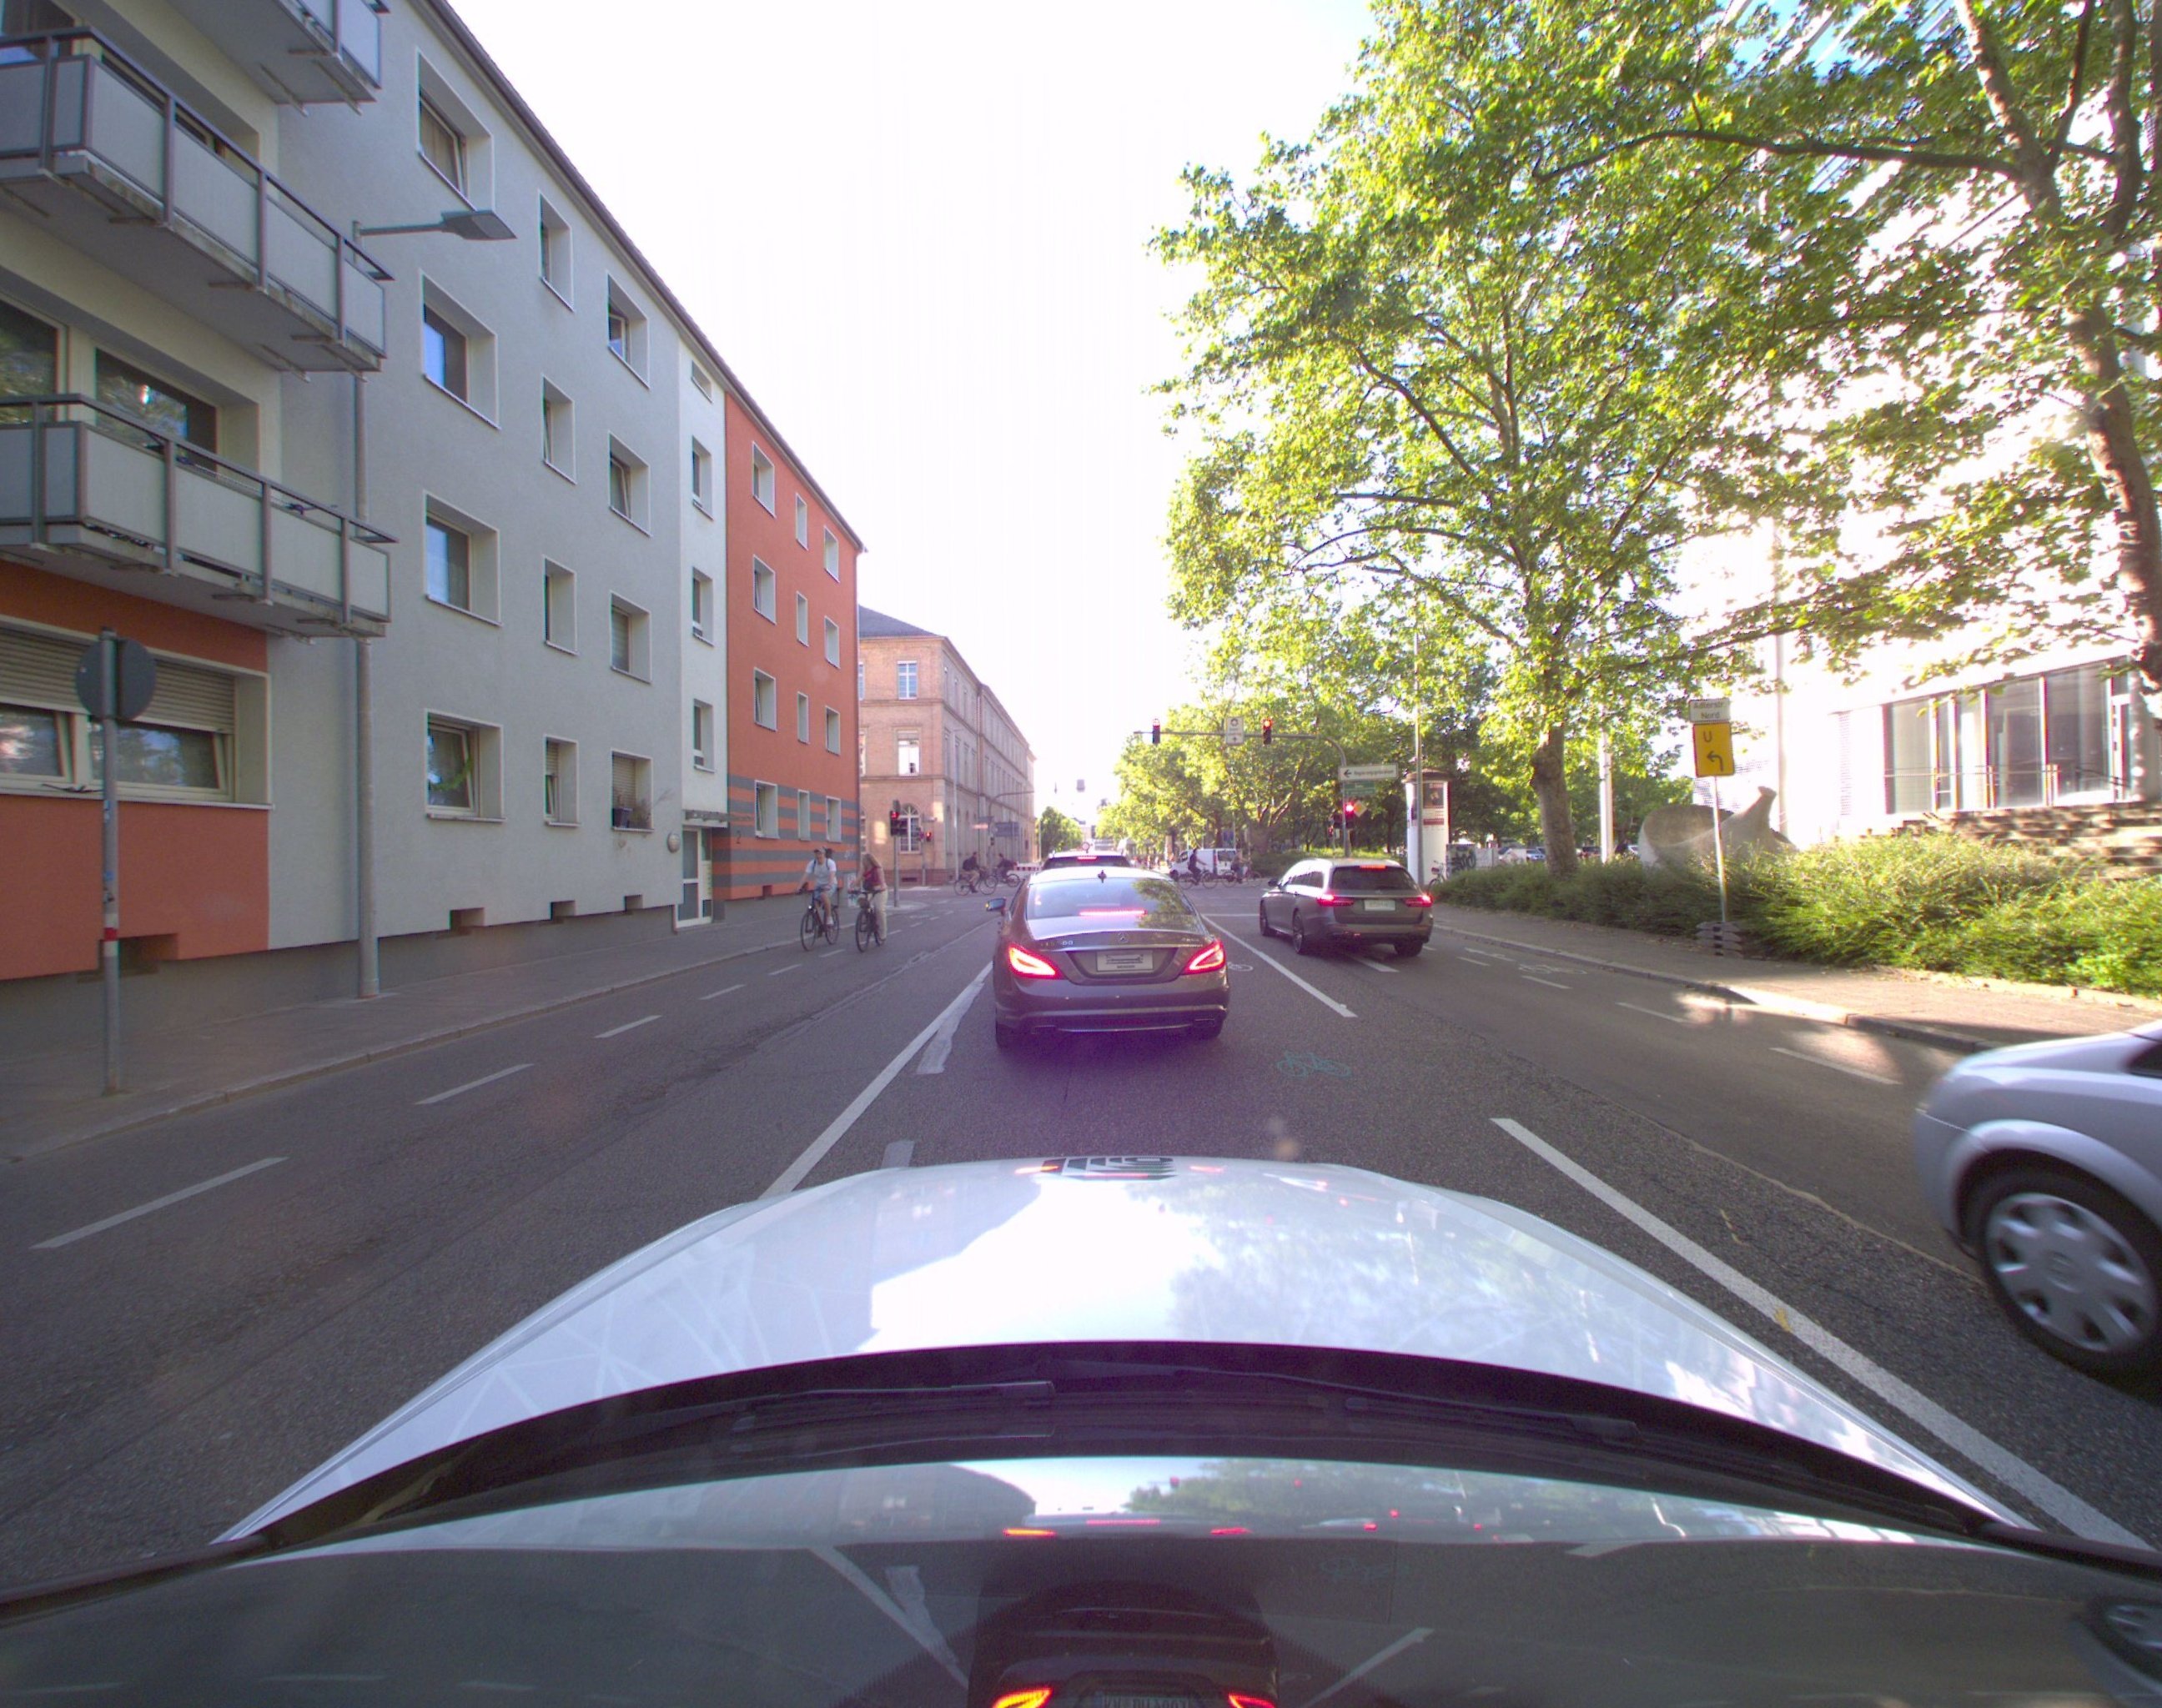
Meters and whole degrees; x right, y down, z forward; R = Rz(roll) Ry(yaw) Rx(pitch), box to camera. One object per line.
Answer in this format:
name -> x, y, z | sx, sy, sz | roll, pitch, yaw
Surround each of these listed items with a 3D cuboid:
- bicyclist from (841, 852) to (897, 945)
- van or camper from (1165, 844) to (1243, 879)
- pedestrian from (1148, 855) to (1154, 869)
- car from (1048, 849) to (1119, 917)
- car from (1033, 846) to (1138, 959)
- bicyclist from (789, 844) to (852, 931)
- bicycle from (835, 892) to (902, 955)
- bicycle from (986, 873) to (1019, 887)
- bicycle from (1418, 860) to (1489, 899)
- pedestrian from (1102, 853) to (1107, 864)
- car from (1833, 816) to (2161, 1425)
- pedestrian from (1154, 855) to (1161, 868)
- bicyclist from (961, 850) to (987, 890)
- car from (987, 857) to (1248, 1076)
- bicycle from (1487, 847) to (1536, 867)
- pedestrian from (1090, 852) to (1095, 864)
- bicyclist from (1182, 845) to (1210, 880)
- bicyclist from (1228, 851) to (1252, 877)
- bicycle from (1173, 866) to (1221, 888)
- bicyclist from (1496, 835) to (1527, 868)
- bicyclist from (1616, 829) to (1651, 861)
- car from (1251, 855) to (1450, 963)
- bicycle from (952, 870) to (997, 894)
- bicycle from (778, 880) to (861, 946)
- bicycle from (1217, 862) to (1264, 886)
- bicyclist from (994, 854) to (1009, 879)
bicyclist -> -3.754, 0.762, 14.467 | 0.682, 1.578, 0.982 | -1, 0, 2
van or camper -> 7.214, 0.416, 48.140 | 2.008, 1.941, 4.545 | 0, 0, -34
pedestrian -> 7.767, 0.864, 90.708 | 0.646, 1.503, 0.637 | -1, 0, 1
car -> 0.129, 0.768, 23.378 | 1.813, 1.762, 4.002 | -1, 0, 2
car -> 0.063, 0.710, 13.852 | 1.513, 1.647, 3.879 | -1, 0, 0
bicyclist -> -4.797, 0.606, 15.034 | 0.838, 1.555, 0.840 | -1, 0, 3
bicycle -> -3.727, 1.196, 14.423 | 0.691, 0.929, 1.863 | -1, 0, 0
bicycle -> -4.028, 1.324, 41.684 | 1.579, 0.635, 0.496 | -1, 0, 5
bicycle -> 10.705, 0.730, 23.435 | 1.796, 1.097, 0.510 | -1, 0, 4
pedestrian -> 3.456, 0.682, 119.481 | 0.799, 1.576, 0.845 | -1, 0, 1
car -> 3.619, 0.693, 1.160 | 1.694, 1.603, 3.863 | -1, 0, 4
pedestrian -> 8.518, 0.882, 90.523 | 0.646, 1.433, 0.659 | -1, 0, 1
bicyclist -> -4.442, 0.664, 33.809 | 1.013, 1.642, 0.607 | -1, 0, -4
car -> 0.072, 0.772, 7.776 | 1.801, 1.456, 4.342 | -1, 0, -5
bicycle -> 20.057, 0.145, 37.960 | 1.884, 0.882, 0.726 | -1, 0, 5
pedestrian -> 1.803, 0.659, 125.700 | 0.718, 1.902, 0.704 | -1, 0, 1
bicyclist -> 4.998, 0.354, 35.322 | 1.113, 1.490, 0.712 | -1, 0, 1
bicyclist -> 7.132, 0.442, 36.588 | 0.987, 1.154, 0.621 | -1, 0, 2
bicycle -> 5.032, 1.011, 35.335 | 1.979, 0.903, 0.734 | -1, 0, 0
bicyclist -> 20.044, -0.103, 37.956 | 1.069, 1.519, 0.718 | -1, 0, 6
bicyclist -> 24.806, -0.385, 36.597 | 1.097, 1.403, 0.659 | -1, 0, 5
car -> 4.230, 0.762, 13.638 | 1.906, 1.464, 4.671 | 1, 0, 2
bicycle -> -4.407, 1.167, 33.799 | 1.791, 0.946, 0.613 | -1, 0, -5
bicycle -> -4.796, 1.049, 15.067 | 0.859, 1.079, 1.838 | -1, 0, 3
bicycle -> 7.151, 0.916, 36.598 | 1.972, 1.027, 0.652 | -1, 0, 2
bicyclist -> -4.067, 0.616, 41.697 | 0.701, 1.260, 0.458 | -1, 0, 5
